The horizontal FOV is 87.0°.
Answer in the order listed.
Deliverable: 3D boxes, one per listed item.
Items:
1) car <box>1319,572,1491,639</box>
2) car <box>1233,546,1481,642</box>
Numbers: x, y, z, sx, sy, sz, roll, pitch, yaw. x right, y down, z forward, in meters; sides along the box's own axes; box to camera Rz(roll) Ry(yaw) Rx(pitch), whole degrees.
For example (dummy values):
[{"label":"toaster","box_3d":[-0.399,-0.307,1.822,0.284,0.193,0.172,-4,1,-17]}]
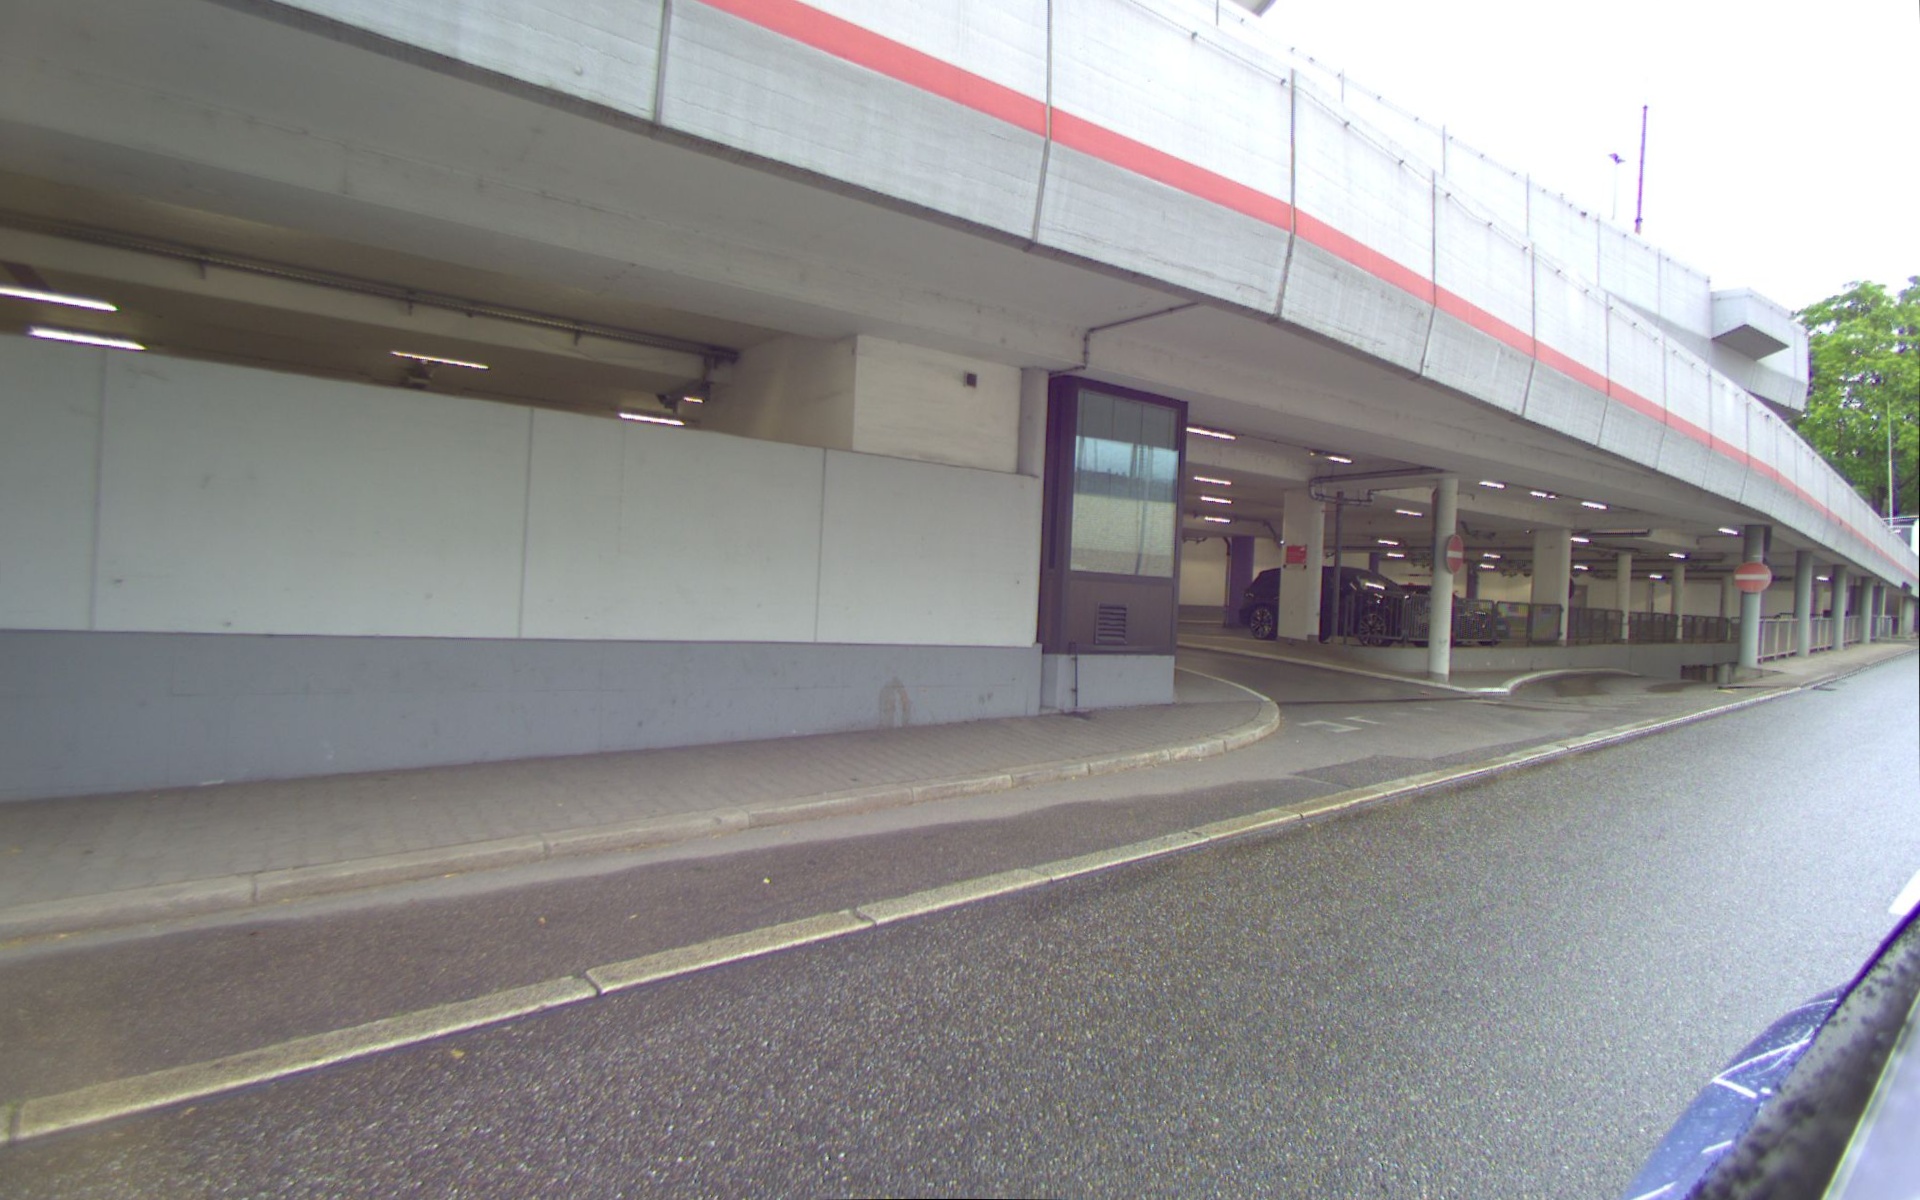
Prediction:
[{"label":"car","box_3d":[11.655,0.112,26.722,1.772,1.524,3.738,2,1,-33]},{"label":"car","box_3d":[8.193,-0.059,21.327,1.787,1.661,4.590,-3,-2,-34]}]
